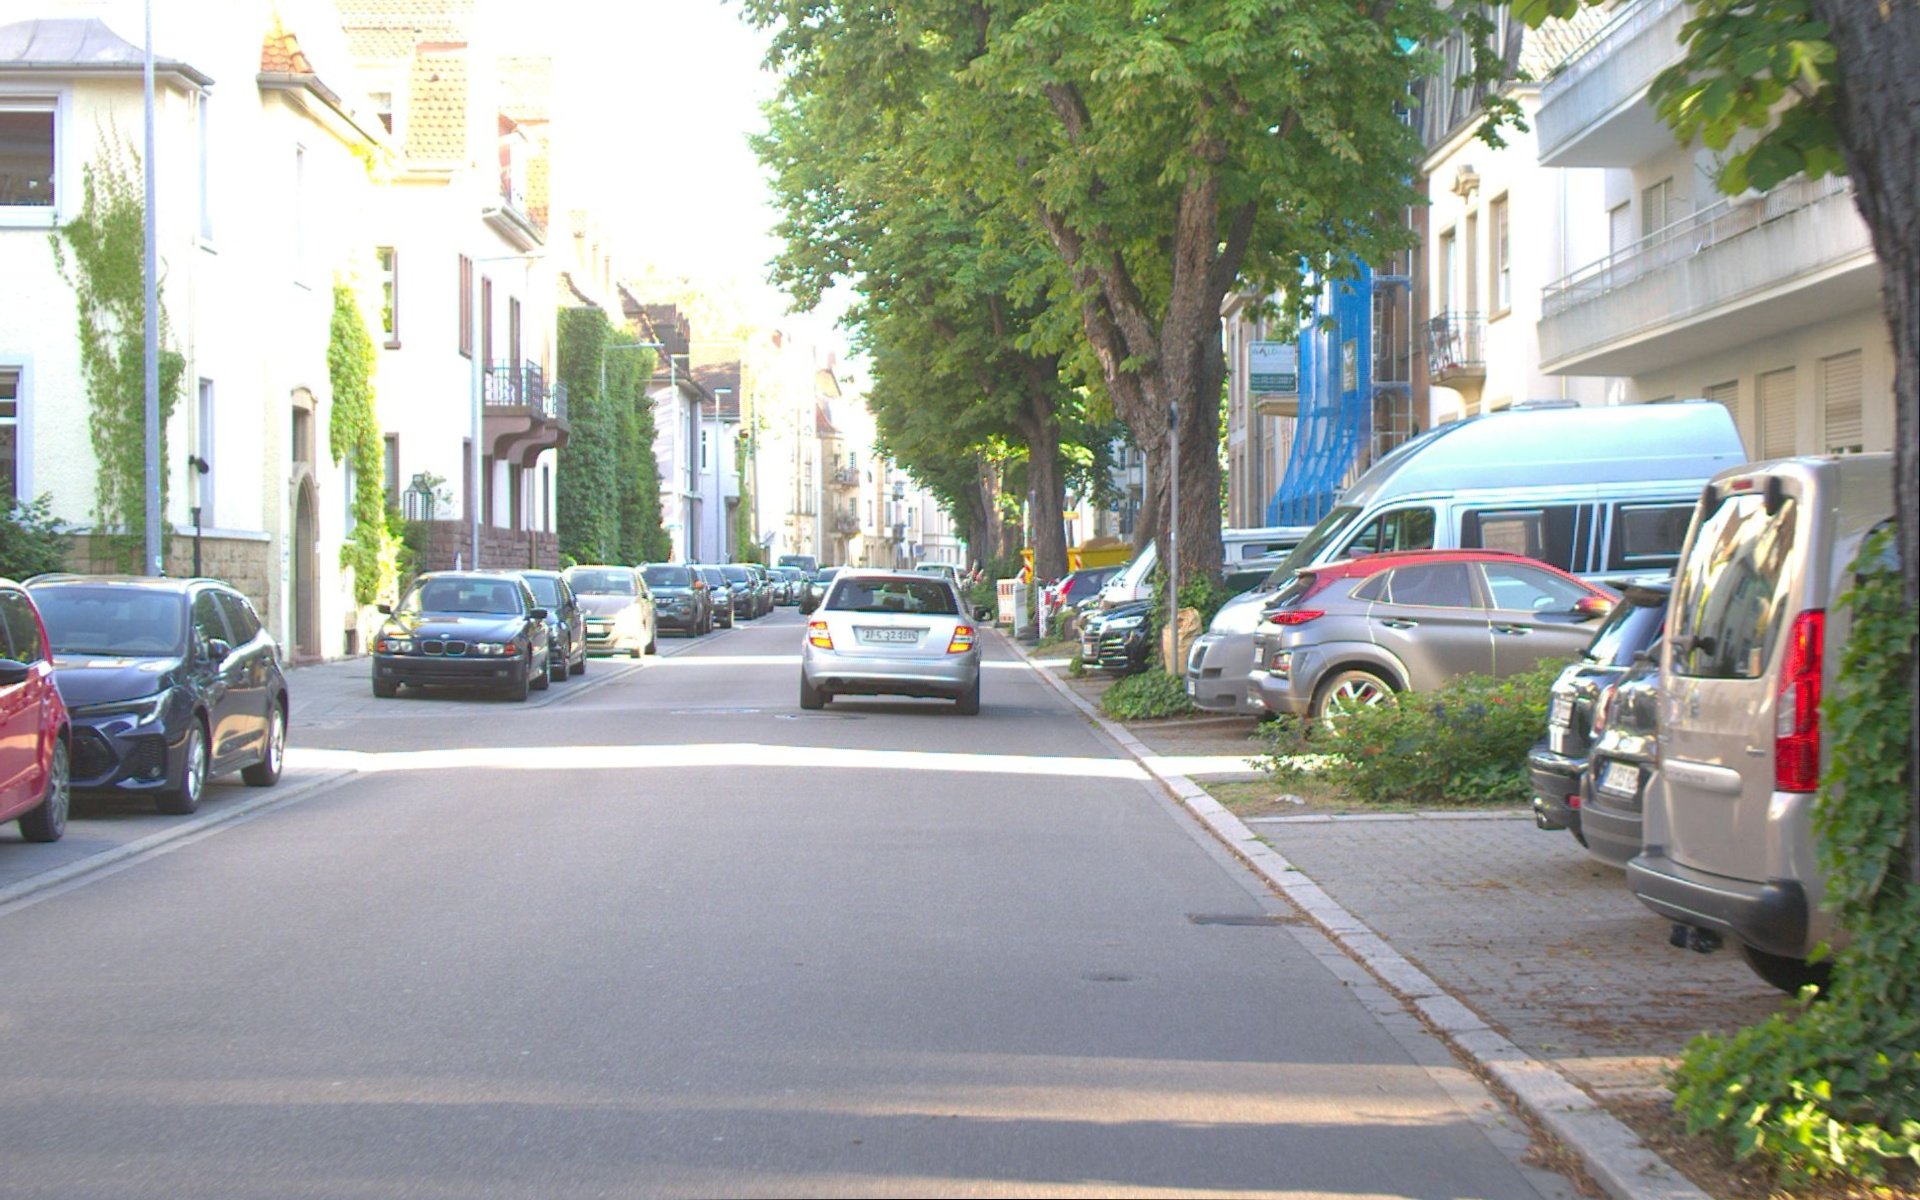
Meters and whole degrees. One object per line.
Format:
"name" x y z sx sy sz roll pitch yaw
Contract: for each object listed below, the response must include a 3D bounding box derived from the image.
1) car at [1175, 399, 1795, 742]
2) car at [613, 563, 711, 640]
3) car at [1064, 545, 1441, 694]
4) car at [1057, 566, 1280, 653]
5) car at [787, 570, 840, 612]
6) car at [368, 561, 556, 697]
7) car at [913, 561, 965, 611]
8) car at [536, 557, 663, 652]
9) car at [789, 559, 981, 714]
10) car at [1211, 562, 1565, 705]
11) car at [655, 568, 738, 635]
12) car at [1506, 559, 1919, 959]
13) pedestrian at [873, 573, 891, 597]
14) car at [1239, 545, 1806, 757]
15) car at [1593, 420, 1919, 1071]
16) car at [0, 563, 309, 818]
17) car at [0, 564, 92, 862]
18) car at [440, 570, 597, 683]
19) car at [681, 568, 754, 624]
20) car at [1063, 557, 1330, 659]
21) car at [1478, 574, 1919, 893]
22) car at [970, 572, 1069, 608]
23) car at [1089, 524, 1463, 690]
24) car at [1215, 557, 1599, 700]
"car" 4.539 -0.268 30.277 5.094 2.892 2.076 0 0 -2
"car" -6.068 0.019 70.357 1.653 1.481 3.764 2 0 0
"car" 3.440 0.236 40.812 4.174 1.718 1.766 0 0 -8
"car" 3.794 0.161 63.016 3.987 1.487 1.851 -1 0 1
"car" -5.168 -0.345 121.770 1.772 1.443 4.000 0 1 -1
"car" -5.842 0.306 40.793 1.709 1.465 4.634 2 0 -2
"car" -0.664 -0.466 110.040 1.623 1.564 3.680 1 1 0
"car" -5.879 0.058 56.399 1.653 1.442 4.005 2 0 0
"car" -0.714 0.359 34.640 1.784 1.432 3.851 2 0 0
"car" 4.751 0.373 38.506 3.720 1.549 1.639 0 0 -2
"car" -6.156 0.013 80.749 1.792 1.456 4.778 2 0 -3
"car" 4.579 0.601 14.212 4.300 1.535 1.759 0 0 -3
"pedestrian" -5.874 -1.130 259.558 1.221 1.716 1.503 2 0 3
"car" 4.435 0.385 27.522 4.188 1.563 1.759 -1 0 -2
"car" 4.352 0.423 10.934 4.300 1.878 1.759 0 0 -3
"car" -5.520 0.507 22.450 1.653 1.449 4.631 2 0 0
"car" -5.605 0.542 17.684 1.581 1.472 3.707 2 0 -5
"car" -5.935 0.328 46.580 1.653 1.410 4.168 2 0 -1
"car" -6.472 -0.125 91.886 1.649 1.416 4.099 2 0 0
"car" 3.788 0.117 55.647 4.155 1.534 1.851 -1 0 0
"car" 4.348 0.596 16.598 3.402 1.422 1.759 -1 1 0
"car" 2.586 -0.427 148.238 4.190 1.470 1.851 -1 0 2
"car" 3.945 0.082 43.385 4.469 2.007 1.896 1 0 -2
"car" 4.591 0.303 35.649 3.720 1.426 1.759 0 -1 -2
